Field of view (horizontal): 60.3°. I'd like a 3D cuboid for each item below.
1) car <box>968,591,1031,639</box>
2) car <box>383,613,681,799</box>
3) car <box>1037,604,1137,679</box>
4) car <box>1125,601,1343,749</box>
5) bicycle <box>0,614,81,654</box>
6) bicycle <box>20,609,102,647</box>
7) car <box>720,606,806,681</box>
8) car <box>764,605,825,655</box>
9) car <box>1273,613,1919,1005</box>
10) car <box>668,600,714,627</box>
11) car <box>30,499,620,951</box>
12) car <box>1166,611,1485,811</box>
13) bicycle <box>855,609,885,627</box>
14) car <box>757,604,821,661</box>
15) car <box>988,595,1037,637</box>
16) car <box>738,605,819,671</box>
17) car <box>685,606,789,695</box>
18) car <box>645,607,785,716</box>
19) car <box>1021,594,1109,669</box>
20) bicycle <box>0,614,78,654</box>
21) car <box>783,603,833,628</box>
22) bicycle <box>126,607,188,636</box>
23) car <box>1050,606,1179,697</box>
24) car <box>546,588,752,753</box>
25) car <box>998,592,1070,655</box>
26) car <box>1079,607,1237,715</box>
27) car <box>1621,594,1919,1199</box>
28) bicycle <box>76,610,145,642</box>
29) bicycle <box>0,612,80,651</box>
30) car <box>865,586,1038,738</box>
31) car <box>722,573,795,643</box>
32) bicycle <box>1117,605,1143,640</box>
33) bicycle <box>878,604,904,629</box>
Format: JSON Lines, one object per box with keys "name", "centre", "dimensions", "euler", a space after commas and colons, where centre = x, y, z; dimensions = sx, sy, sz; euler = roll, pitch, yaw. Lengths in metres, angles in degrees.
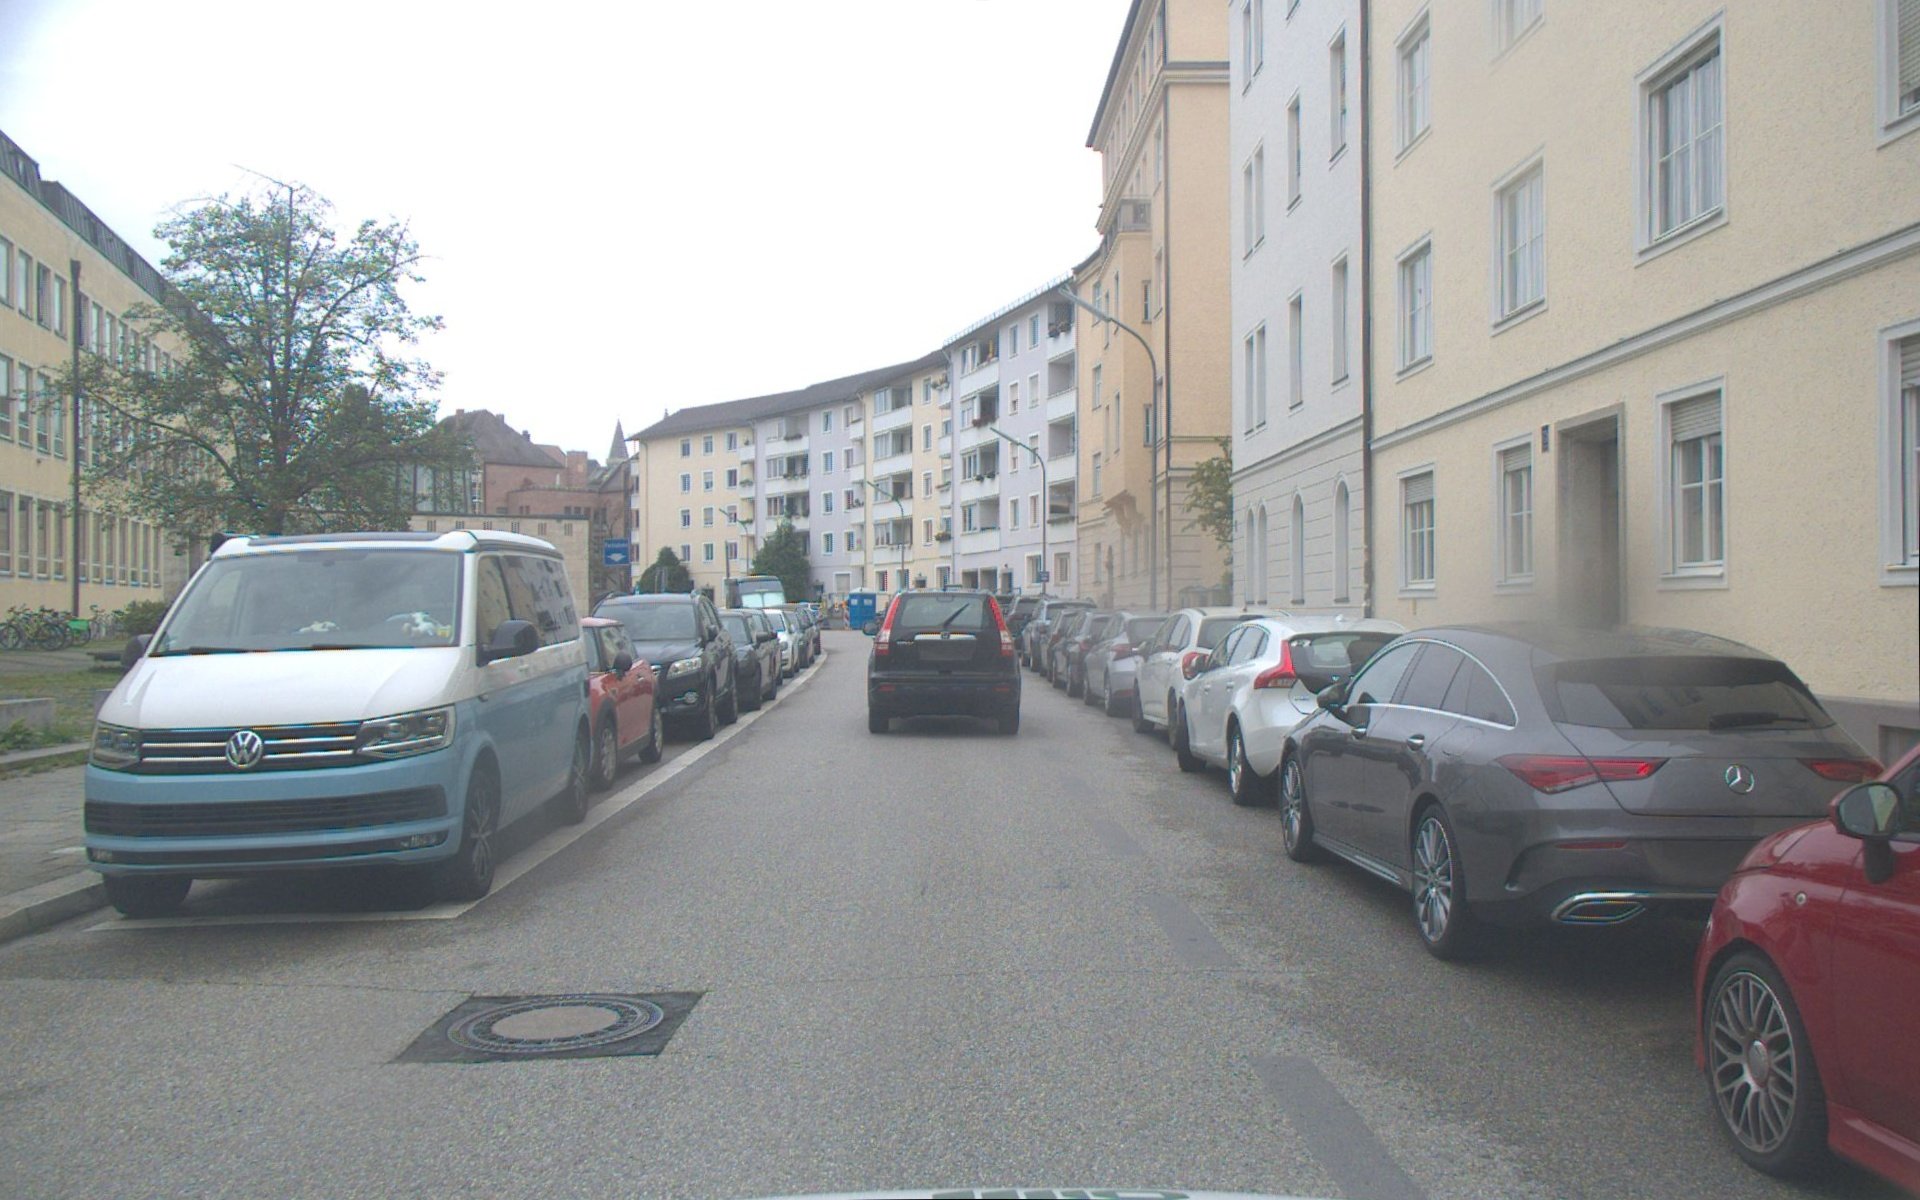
{"name": "car", "centre": [1.549, 0.598, 66.239], "dimensions": [1.745, 1.838, 4.266], "euler": [1, 0, -9]}
{"name": "car", "centre": [-3.659, 0.844, 14.835], "dimensions": [1.708, 1.411, 3.917], "euler": [0, 0, -1]}
{"name": "car", "centre": [2.562, 0.826, 34.203], "dimensions": [1.645, 1.452, 4.085], "euler": [0, 0, -2]}
{"name": "car", "centre": [3.021, 0.777, 19.049], "dimensions": [1.645, 1.507, 4.165], "euler": [0, 0, -3]}
{"name": "bicycle", "centre": [-24.428, 0.893, 43.811], "dimensions": [1.914, 1.032, 0.623], "euler": [0, 0, -15]}
{"name": "bicycle", "centre": [-25.203, 0.780, 46.394], "dimensions": [1.914, 1.032, 0.623], "euler": [0, 0, -15]}
{"name": "car", "centre": [-4.279, 0.912, 36.360], "dimensions": [1.624, 1.479, 4.069], "euler": [-2, 0, -4]}
{"name": "car", "centre": [-5.121, 0.892, 51.312], "dimensions": [1.764, 1.430, 4.450], "euler": [-2, 0, -6]}
{"name": "car", "centre": [2.893, 0.793, 8.380], "dimensions": [1.645, 1.434, 4.420], "euler": [0, 0, -2]}
{"name": "car", "centre": [-19.382, 0.943, 119.142], "dimensions": [1.710, 1.911, 3.951], "euler": [1, 0, -35]}
{"name": "car", "centre": [-3.420, 0.578, 10.097], "dimensions": [1.890, 2.013, 5.019], "euler": [-1, 0, -4]}
{"name": "car", "centre": [2.937, 0.821, 14.258], "dimensions": [1.645, 1.434, 4.441], "euler": [0, 0, -2]}
{"name": "bicycle", "centre": [-5.735, 1.156, 105.620], "dimensions": [1.841, 1.110, 0.561], "euler": [0, -1, -23]}
{"name": "car", "centre": [-4.780, 0.871, 46.491], "dimensions": [1.624, 1.479, 3.309], "euler": [-2, 0, -4]}
{"name": "car", "centre": [1.898, 0.582, 61.149], "dimensions": [1.673, 1.472, 3.829], "euler": [1, 0, 0]}
{"name": "car", "centre": [-4.493, 0.909, 41.438], "dimensions": [1.720, 1.479, 4.393], "euler": [-2, 0, -3]}
{"name": "car", "centre": [-4.077, 0.884, 30.739], "dimensions": [1.624, 1.479, 3.971], "euler": [-2, 0, -4]}
{"name": "car", "centre": [-3.701, 0.877, 25.494], "dimensions": [1.646, 1.479, 3.868], "euler": [-2, 0, -2]}
{"name": "car", "centre": [2.440, 0.721, 39.376], "dimensions": [1.687, 1.663, 4.456], "euler": [0, 0, -2]}
{"name": "bicycle", "centre": [-24.092, 0.883, 43.052], "dimensions": [1.912, 1.032, 0.624], "euler": [0, 0, -12]}
{"name": "car", "centre": [-9.448, 0.932, 102.627], "dimensions": [1.705, 1.509, 3.962], "euler": [1, 0, -29]}
{"name": "bicycle", "centre": [-28.865, 0.760, 59.467], "dimensions": [1.916, 1.032, 0.622], "euler": [0, 0, -18]}
{"name": "car", "centre": [2.610, 0.845, 28.862], "dimensions": [1.645, 1.452, 4.389], "euler": [0, 0, -3]}
{"name": "car", "centre": [-3.671, 0.772, 20.270], "dimensions": [1.709, 1.695, 4.447], "euler": [-4, 0, -2]}
{"name": "car", "centre": [2.145, 0.669, 49.275], "dimensions": [1.831, 1.747, 4.864], "euler": [1, 0, -1]}
{"name": "car", "centre": [2.812, 0.829, 24.286], "dimensions": [1.645, 1.452, 4.165], "euler": [0, 0, -3]}
{"name": "car", "centre": [3.053, 0.743, 3.545], "dimensions": [1.645, 1.524, 3.822], "euler": [0, 0, -2]}
{"name": "bicycle", "centre": [-27.719, 0.833, 53.991], "dimensions": [1.910, 1.032, 0.624], "euler": [0, 0, -8]}
{"name": "bicycle", "centre": [-25.046, 0.857, 44.917], "dimensions": [1.914, 1.032, 0.623], "euler": [0, 0, -15]}
{"name": "car", "centre": [-0.199, 0.695, 20.366], "dimensions": [1.854, 1.676, 3.987], "euler": [0, 0, -4]}
{"name": "car", "centre": [-8.290, 0.306, 67.573], "dimensions": [2.128, 2.688, 5.993], "euler": [-2, 0, -15]}
{"name": "bicycle", "centre": [5.561, 0.731, 54.085], "dimensions": [0.567, 1.102, 1.953], "euler": [-3, 0, -1]}
{"name": "bicycle", "centre": [-4.093, 0.967, 97.961], "dimensions": [0.953, 1.413, 2.552], "euler": [0, 0, -16]}
